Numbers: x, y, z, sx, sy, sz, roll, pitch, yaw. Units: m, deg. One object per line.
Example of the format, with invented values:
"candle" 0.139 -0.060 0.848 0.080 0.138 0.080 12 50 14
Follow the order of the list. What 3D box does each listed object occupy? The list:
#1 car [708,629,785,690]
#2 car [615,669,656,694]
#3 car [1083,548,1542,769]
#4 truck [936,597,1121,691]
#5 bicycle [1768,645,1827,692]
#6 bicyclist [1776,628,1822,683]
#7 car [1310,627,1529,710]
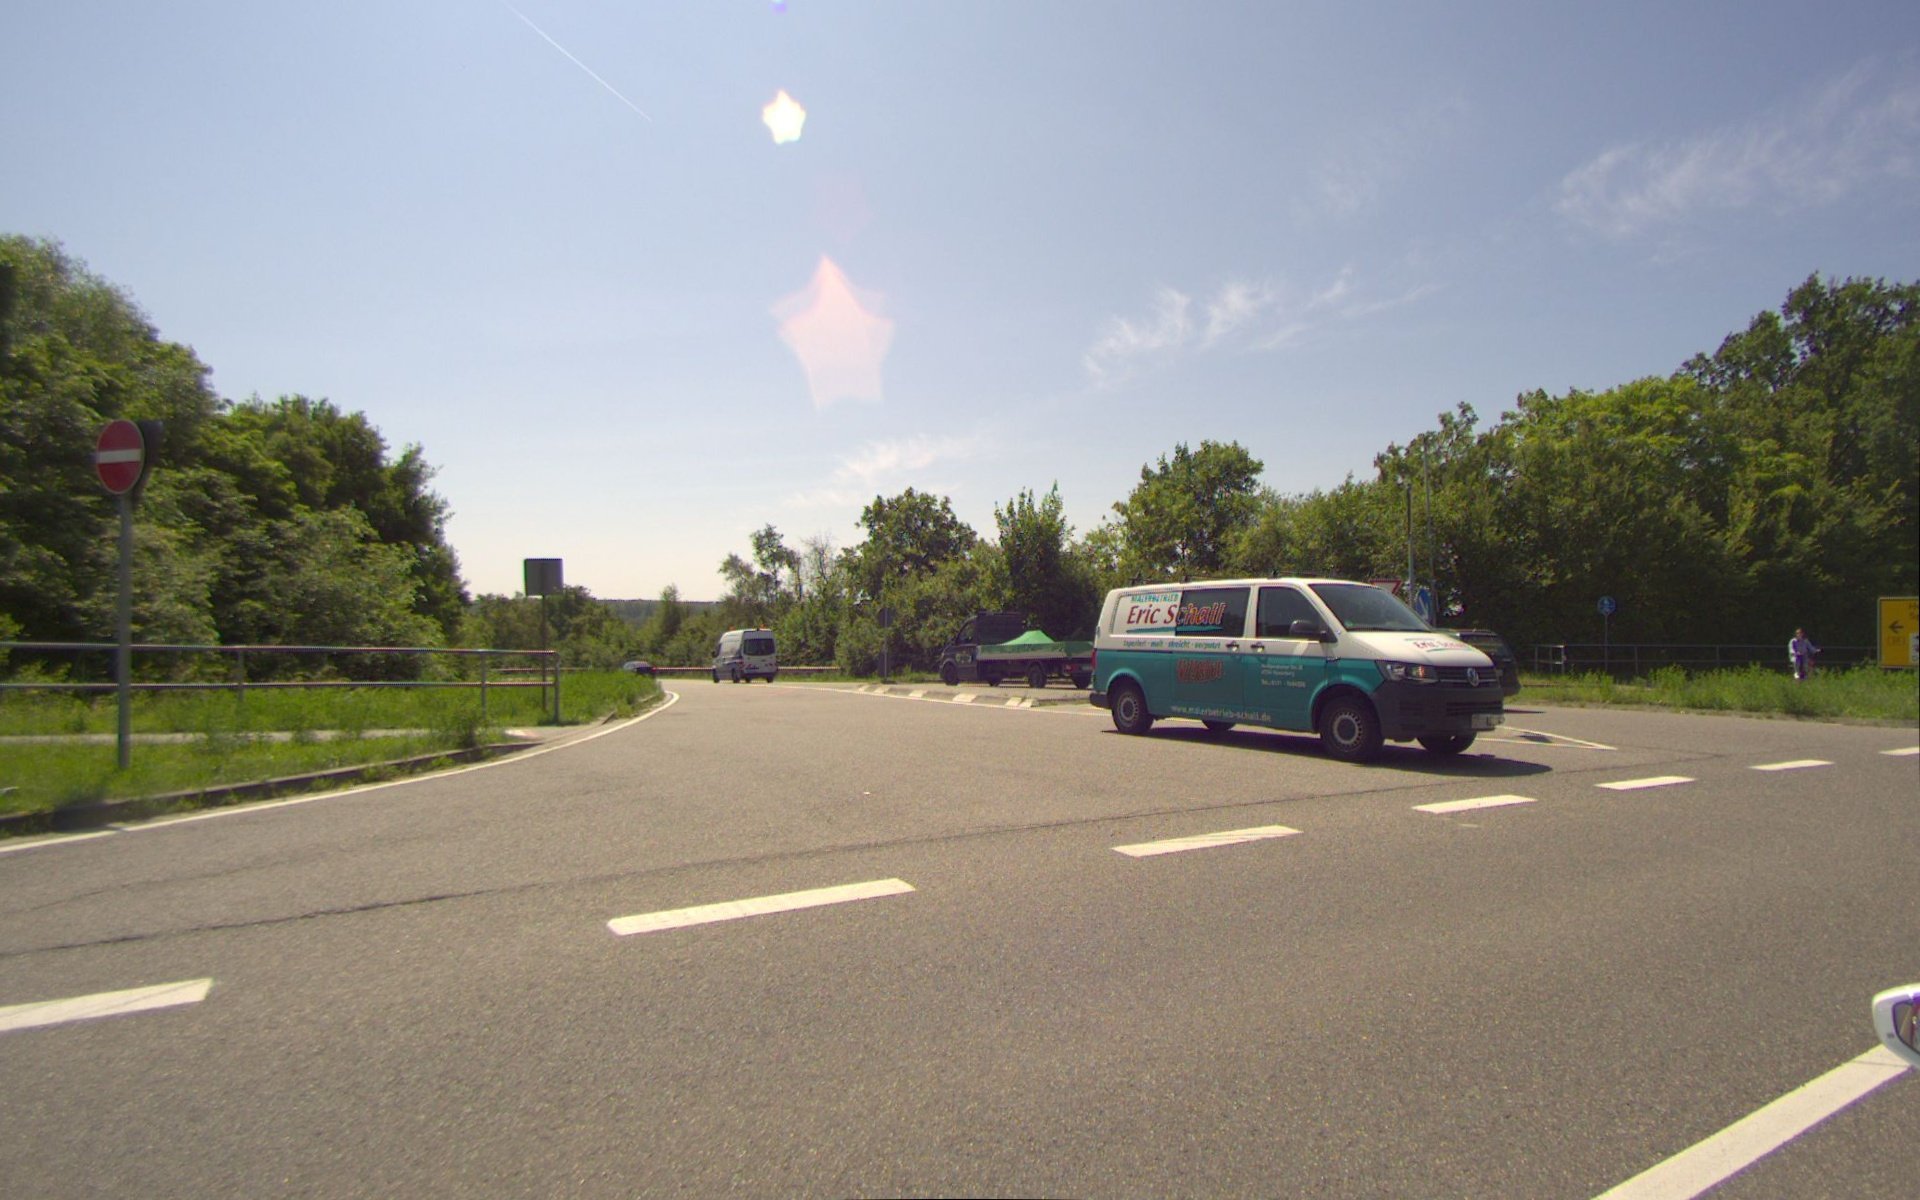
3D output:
"car" -10.834 3.026 50.566 2.087 2.886 5.967 1 -5 -30
"car" -23.267 5.805 71.992 1.661 1.683 3.961 1 -4 -35
"car" 3.845 0.662 12.077 1.977 2.054 5.145 1 -3 -31
"truck" 1.924 1.400 31.113 2.124 2.598 6.577 2 -4 -34
"bicycle" 21.582 1.754 25.904 0.428 1.128 1.483 1 -1 7
"bicyclist" 21.534 1.408 25.795 0.676 1.381 0.609 1 -1 7
"car" 8.894 1.282 19.783 1.702 1.476 3.776 1 -2 -24
